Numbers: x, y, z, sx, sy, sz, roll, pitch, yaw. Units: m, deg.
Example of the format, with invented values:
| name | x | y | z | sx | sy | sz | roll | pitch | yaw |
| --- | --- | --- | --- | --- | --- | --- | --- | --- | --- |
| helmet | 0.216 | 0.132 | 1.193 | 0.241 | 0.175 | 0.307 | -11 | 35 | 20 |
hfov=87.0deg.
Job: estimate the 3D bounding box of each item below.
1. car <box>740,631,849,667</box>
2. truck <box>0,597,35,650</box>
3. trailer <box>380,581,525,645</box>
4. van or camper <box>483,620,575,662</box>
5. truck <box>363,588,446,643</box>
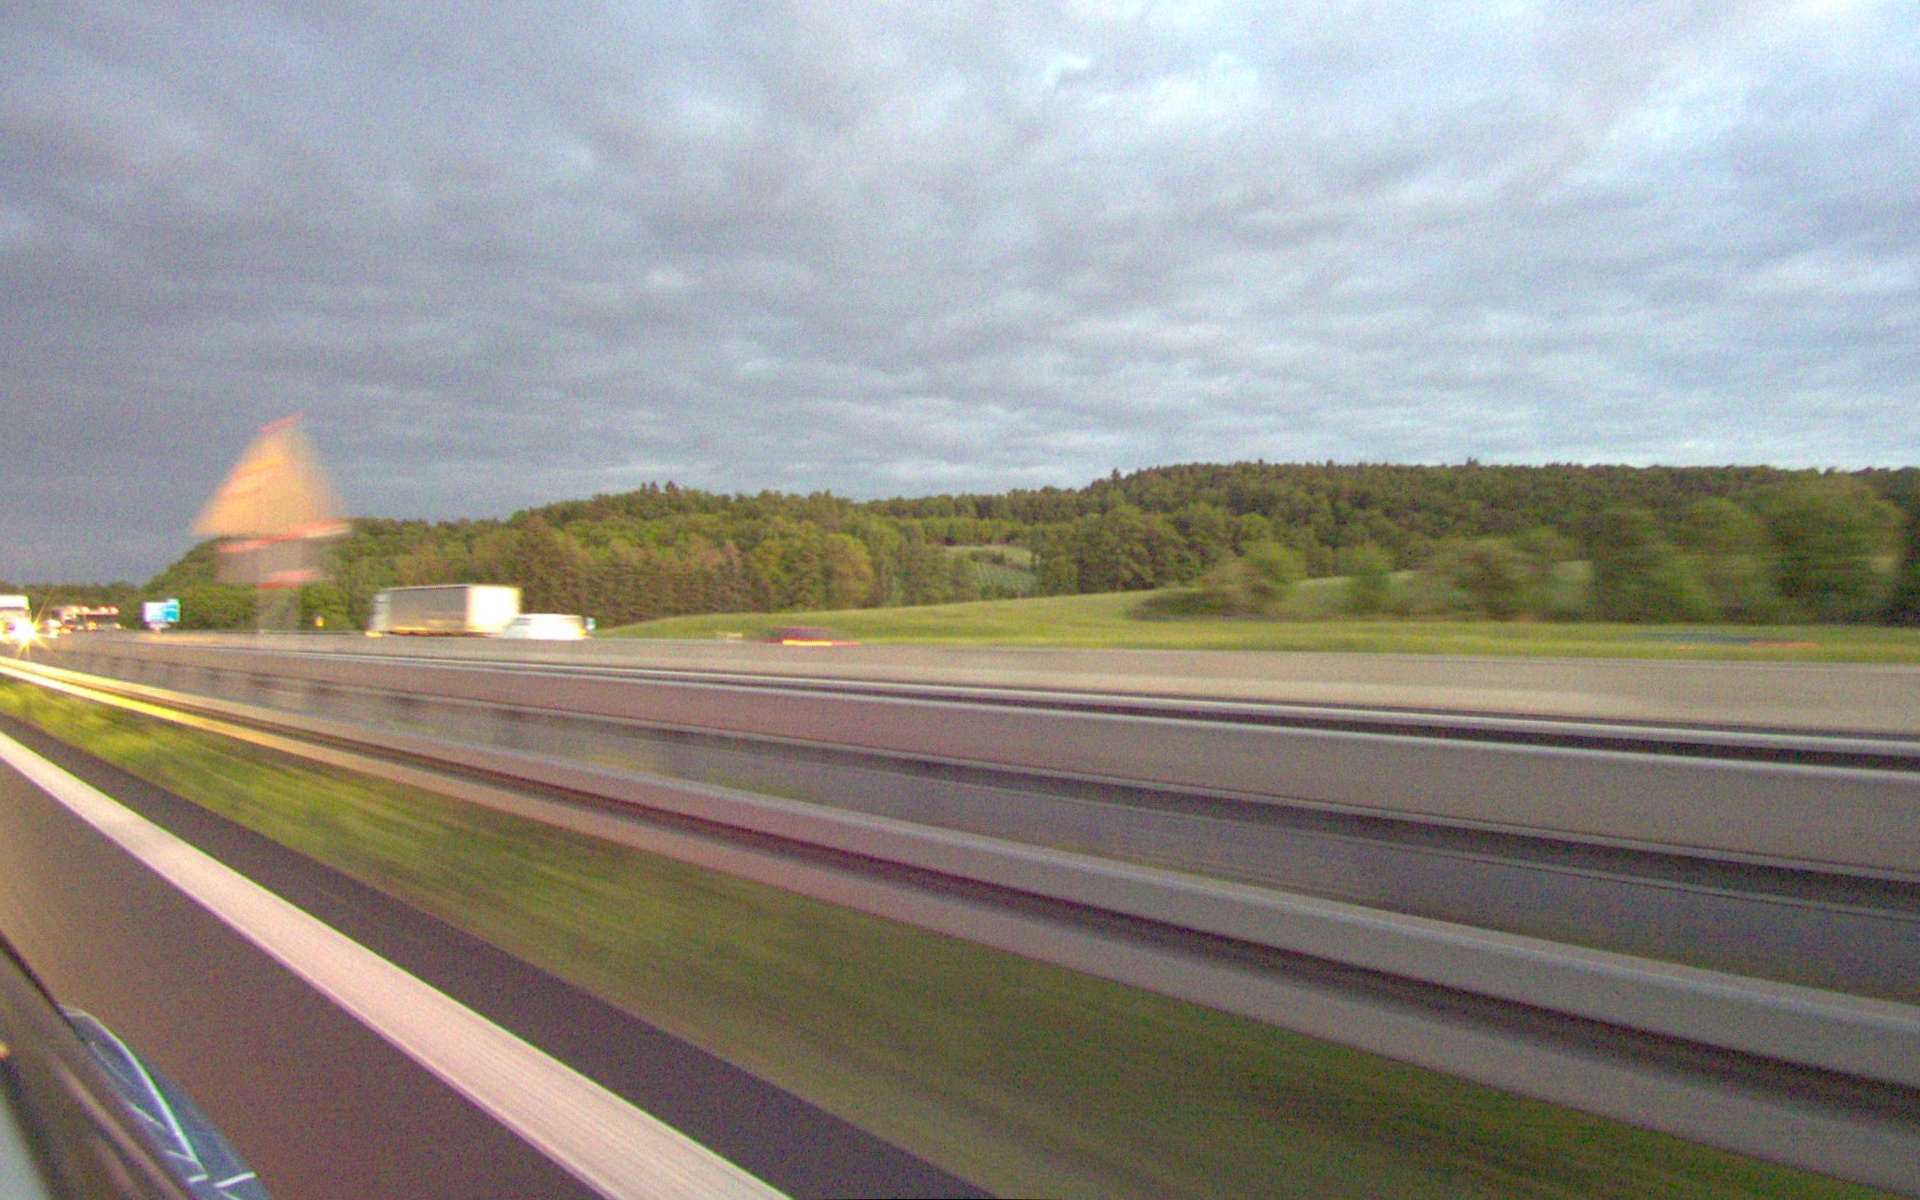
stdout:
| name | x | y | z | sx | sy | sz | roll | pitch | yaw |
| --- | --- | --- | --- | --- | --- | --- | --- | --- | --- |
| car | -6.230 | 1.796 | 37.796 | 4.211 | 1.259 | 1.734 | -1 | -2 | 41 |
| truck | -81.400 | 1.975 | 85.924 | 9.885 | 4.334 | 3.007 | -1 | -2 | 41 |
| trailer | -33.205 | 0.938 | 65.764 | 13.877 | 3.794 | 3.292 | -1 | -2 | 41 |
| van or camper | -21.185 | 1.985 | 49.635 | 5.535 | 1.921 | 1.872 | -2 | -1 | 40 |
| truck | -38.703 | 1.108 | 70.492 | 5.494 | 3.647 | 3.276 | -1 | -2 | 41 |
